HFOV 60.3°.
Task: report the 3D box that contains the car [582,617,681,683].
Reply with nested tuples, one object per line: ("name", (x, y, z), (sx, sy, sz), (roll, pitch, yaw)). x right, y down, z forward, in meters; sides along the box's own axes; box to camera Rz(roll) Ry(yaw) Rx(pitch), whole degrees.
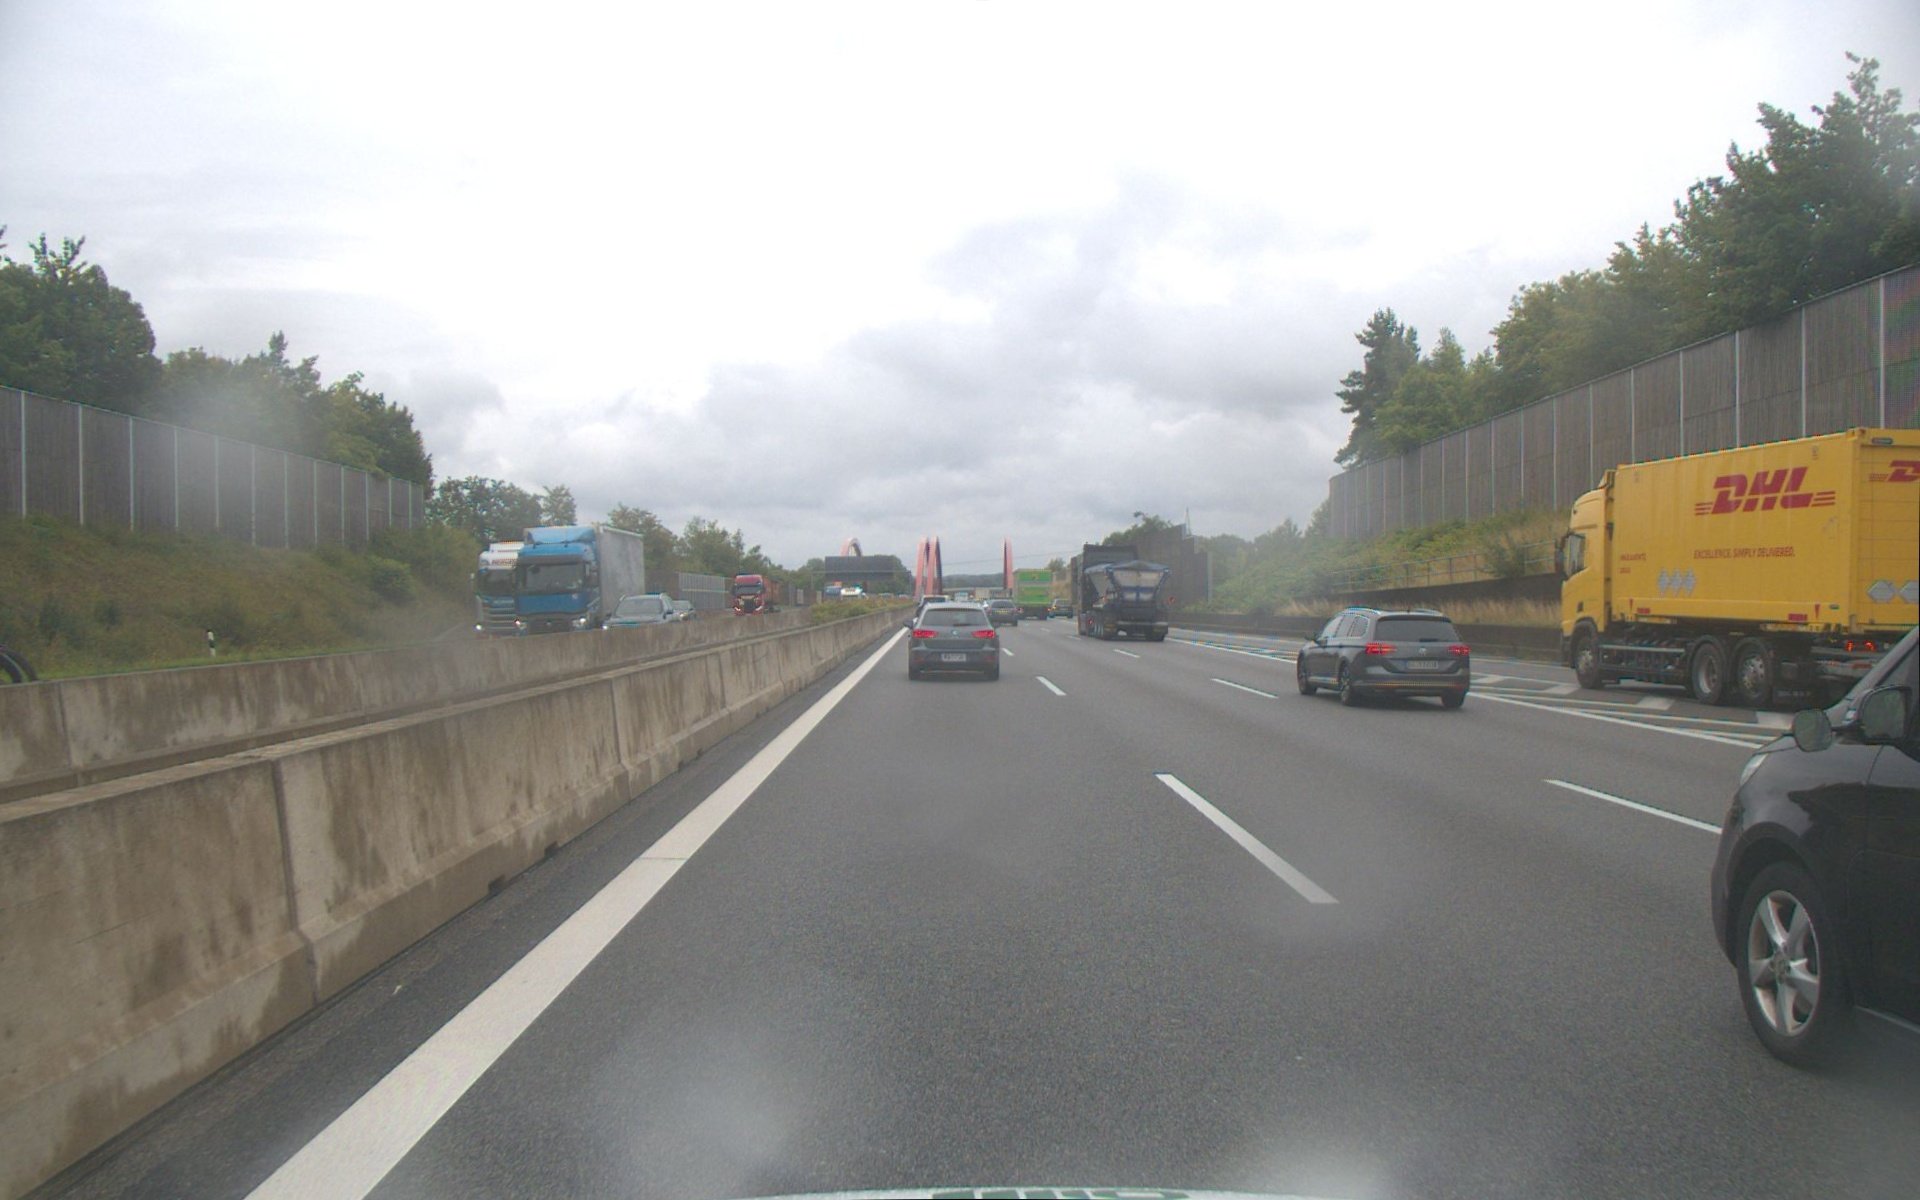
("car", (-9.598, 1.420, 48.698), (1.953, 1.766, 5.001), (0, 0, -1))

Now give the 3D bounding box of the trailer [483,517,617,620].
("trailer", (-17.484, -1.255, 71.564), (2.844, 4.004, 12.441), (-1, 0, -1))

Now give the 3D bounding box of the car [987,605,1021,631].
("car", (2.450, 0.988, 92.954), (1.745, 1.431, 3.625), (1, 0, -1))

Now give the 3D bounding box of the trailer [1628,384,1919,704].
("trailer", (13.367, -0.679, 20.867), (2.597, 4.022, 16.679), (1, 0, -2))

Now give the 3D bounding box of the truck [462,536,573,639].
("truck", (-17.418, -0.465, 65.466), (2.830, 3.862, 5.888), (0, 0, -1))

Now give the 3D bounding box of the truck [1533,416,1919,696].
("truck", (13.092, -0.613, 28.837), (2.631, 4.027, 9.322), (1, 0, -2))

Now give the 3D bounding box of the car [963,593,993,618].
("car", (1.197, 0.371, 113.402), (1.953, 1.691, 3.999), (1, 0, -1))

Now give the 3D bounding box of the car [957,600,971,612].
("car", (0.594, 0.887, 245.708), (1.953, 1.847, 4.000), (1, 0, 0))

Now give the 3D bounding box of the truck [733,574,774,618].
("truck", (-18.353, -0.307, 147.230), (2.641, 3.771, 6.481), (1, 0, 1))

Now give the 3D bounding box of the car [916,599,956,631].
("car", (-1.238, 0.744, 84.115), (1.953, 1.613, 3.999), (0, 0, -1))

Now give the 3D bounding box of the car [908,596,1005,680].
("car", (-0.117, 0.684, 31.662), (1.728, 1.478, 3.999), (1, 0, -2))

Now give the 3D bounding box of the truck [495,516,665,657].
("truck", (-13.197, -0.388, 58.849), (3.087, 4.400, 12.678), (1, 0, 0))

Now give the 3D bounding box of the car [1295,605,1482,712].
("car", (6.553, 0.843, 25.780), (1.629, 1.482, 4.469), (1, 0, -2))

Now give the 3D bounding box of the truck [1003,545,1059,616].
("truck", (5.472, -1.489, 129.920), (3.915, 5.358, 11.219), (0, 0, 0))

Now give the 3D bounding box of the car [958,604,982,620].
("car", (0.855, 1.036, 144.392), (1.953, 1.378, 3.999), (0, 0, -1))

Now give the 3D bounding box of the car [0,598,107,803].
("car", (-9.043, 0.855, 13.504), (1.932, 1.719, 4.356), (0, 0, -1))

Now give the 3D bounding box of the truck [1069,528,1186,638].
("truck", (6.628, -0.595, 67.685), (3.027, 4.019, 12.940), (-1, 0, -2))

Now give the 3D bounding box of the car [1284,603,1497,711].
("car", (6.650, 0.817, 26.194), (1.900, 1.452, 5.288), (2, 0, -1))

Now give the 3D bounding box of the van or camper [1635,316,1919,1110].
("van or camper", (3.738, 0.337, 3.918), (1.852, 2.309, 5.678), (1, 0, -1))

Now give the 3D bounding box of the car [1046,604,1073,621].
("car", (8.595, 1.090, 143.030), (1.953, 1.378, 3.999), (0, 0, -1))

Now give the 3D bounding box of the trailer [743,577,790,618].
("trailer", (-18.173, -0.240, 156.092), (2.670, 3.748, 12.564), (0, 0, 1))
